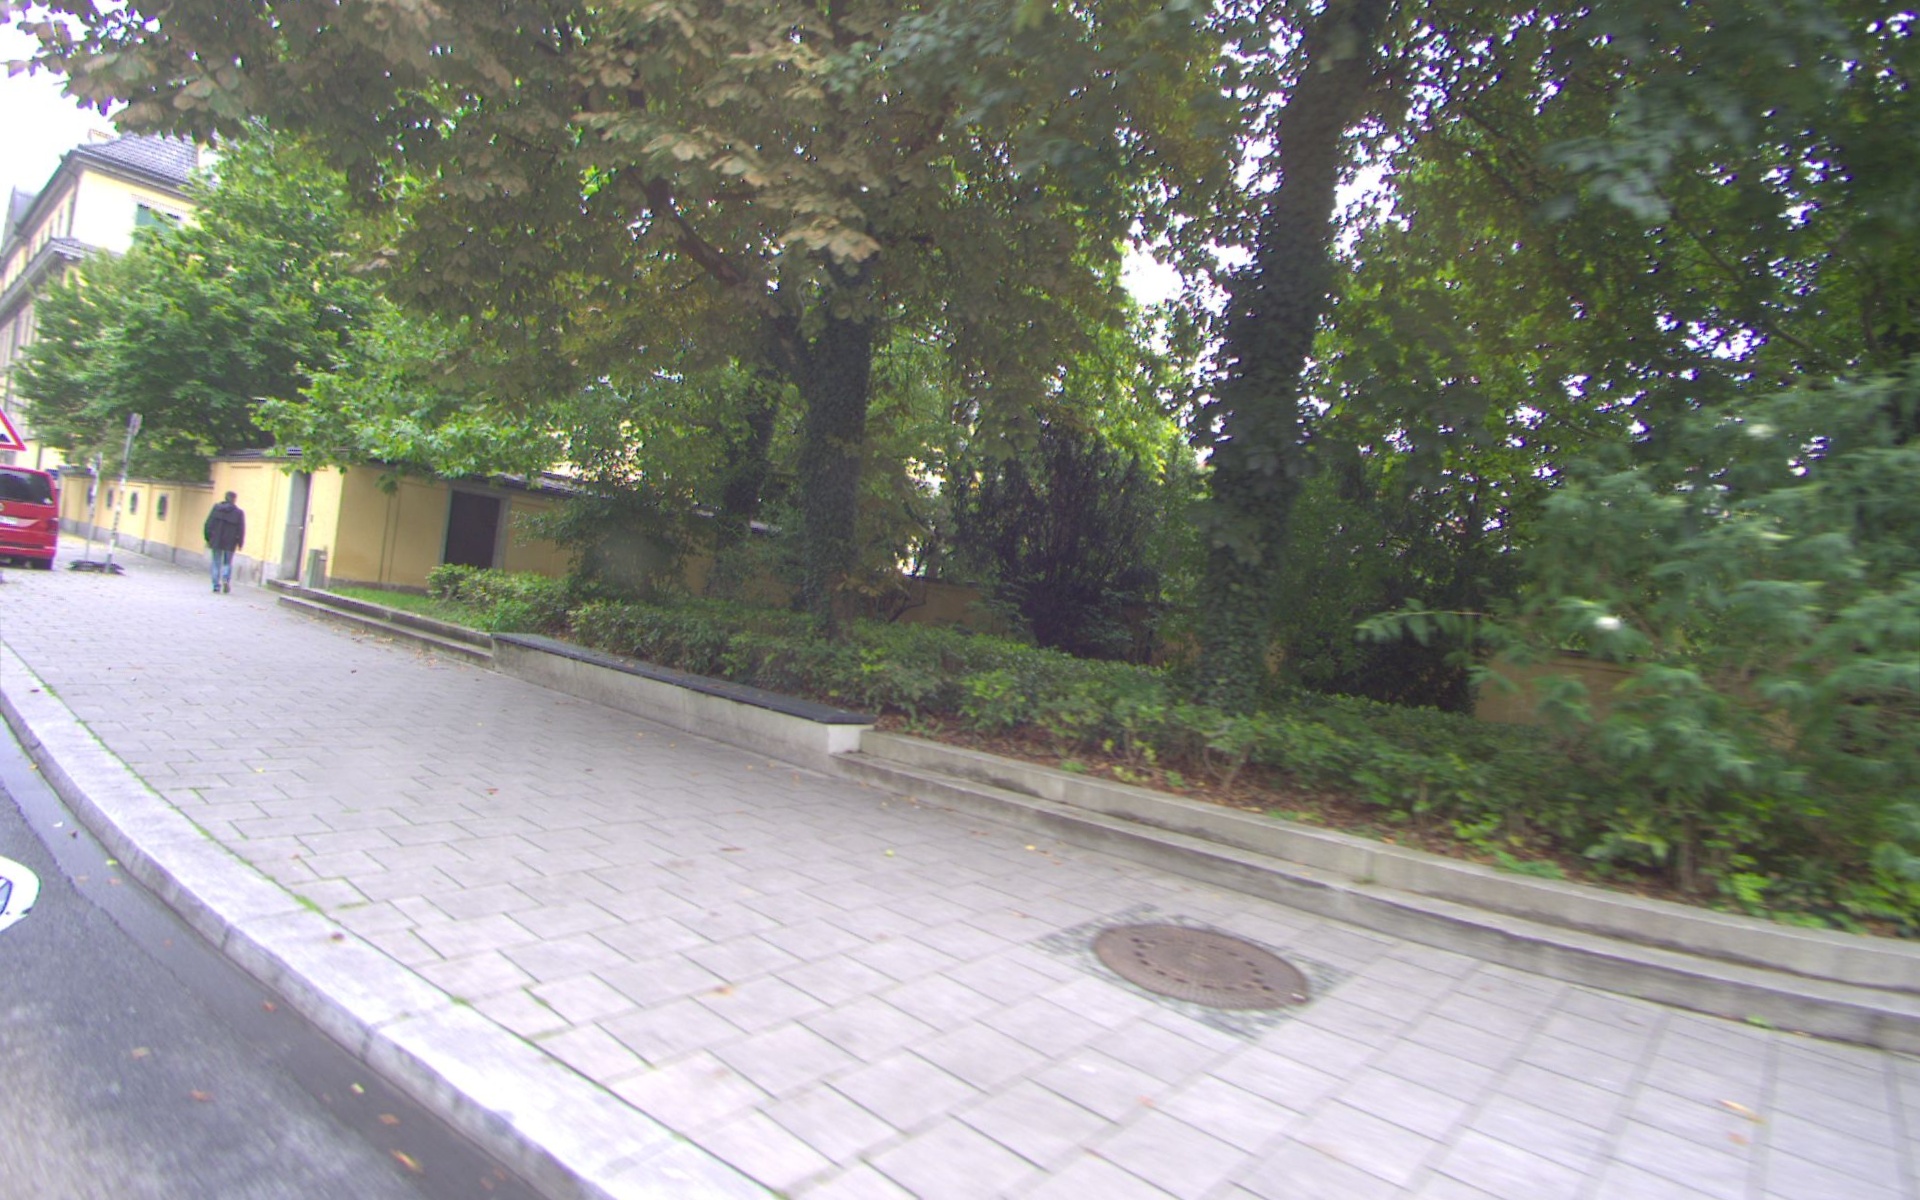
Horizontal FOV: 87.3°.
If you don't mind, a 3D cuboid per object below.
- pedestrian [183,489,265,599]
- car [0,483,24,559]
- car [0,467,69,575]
[{"bbox_3d":[-13.517,-1.031,18.478,1.037,1.853,0.872,8,1,42],"label":"pedestrian"},{"bbox_3d":[-23.146,-1.987,22.997,4.260,1.629,1.988,7,0,40],"label":"car"},{"bbox_3d":[-19.207,-1.684,19.630,4.646,1.862,1.988,7,0,40],"label":"car"}]
